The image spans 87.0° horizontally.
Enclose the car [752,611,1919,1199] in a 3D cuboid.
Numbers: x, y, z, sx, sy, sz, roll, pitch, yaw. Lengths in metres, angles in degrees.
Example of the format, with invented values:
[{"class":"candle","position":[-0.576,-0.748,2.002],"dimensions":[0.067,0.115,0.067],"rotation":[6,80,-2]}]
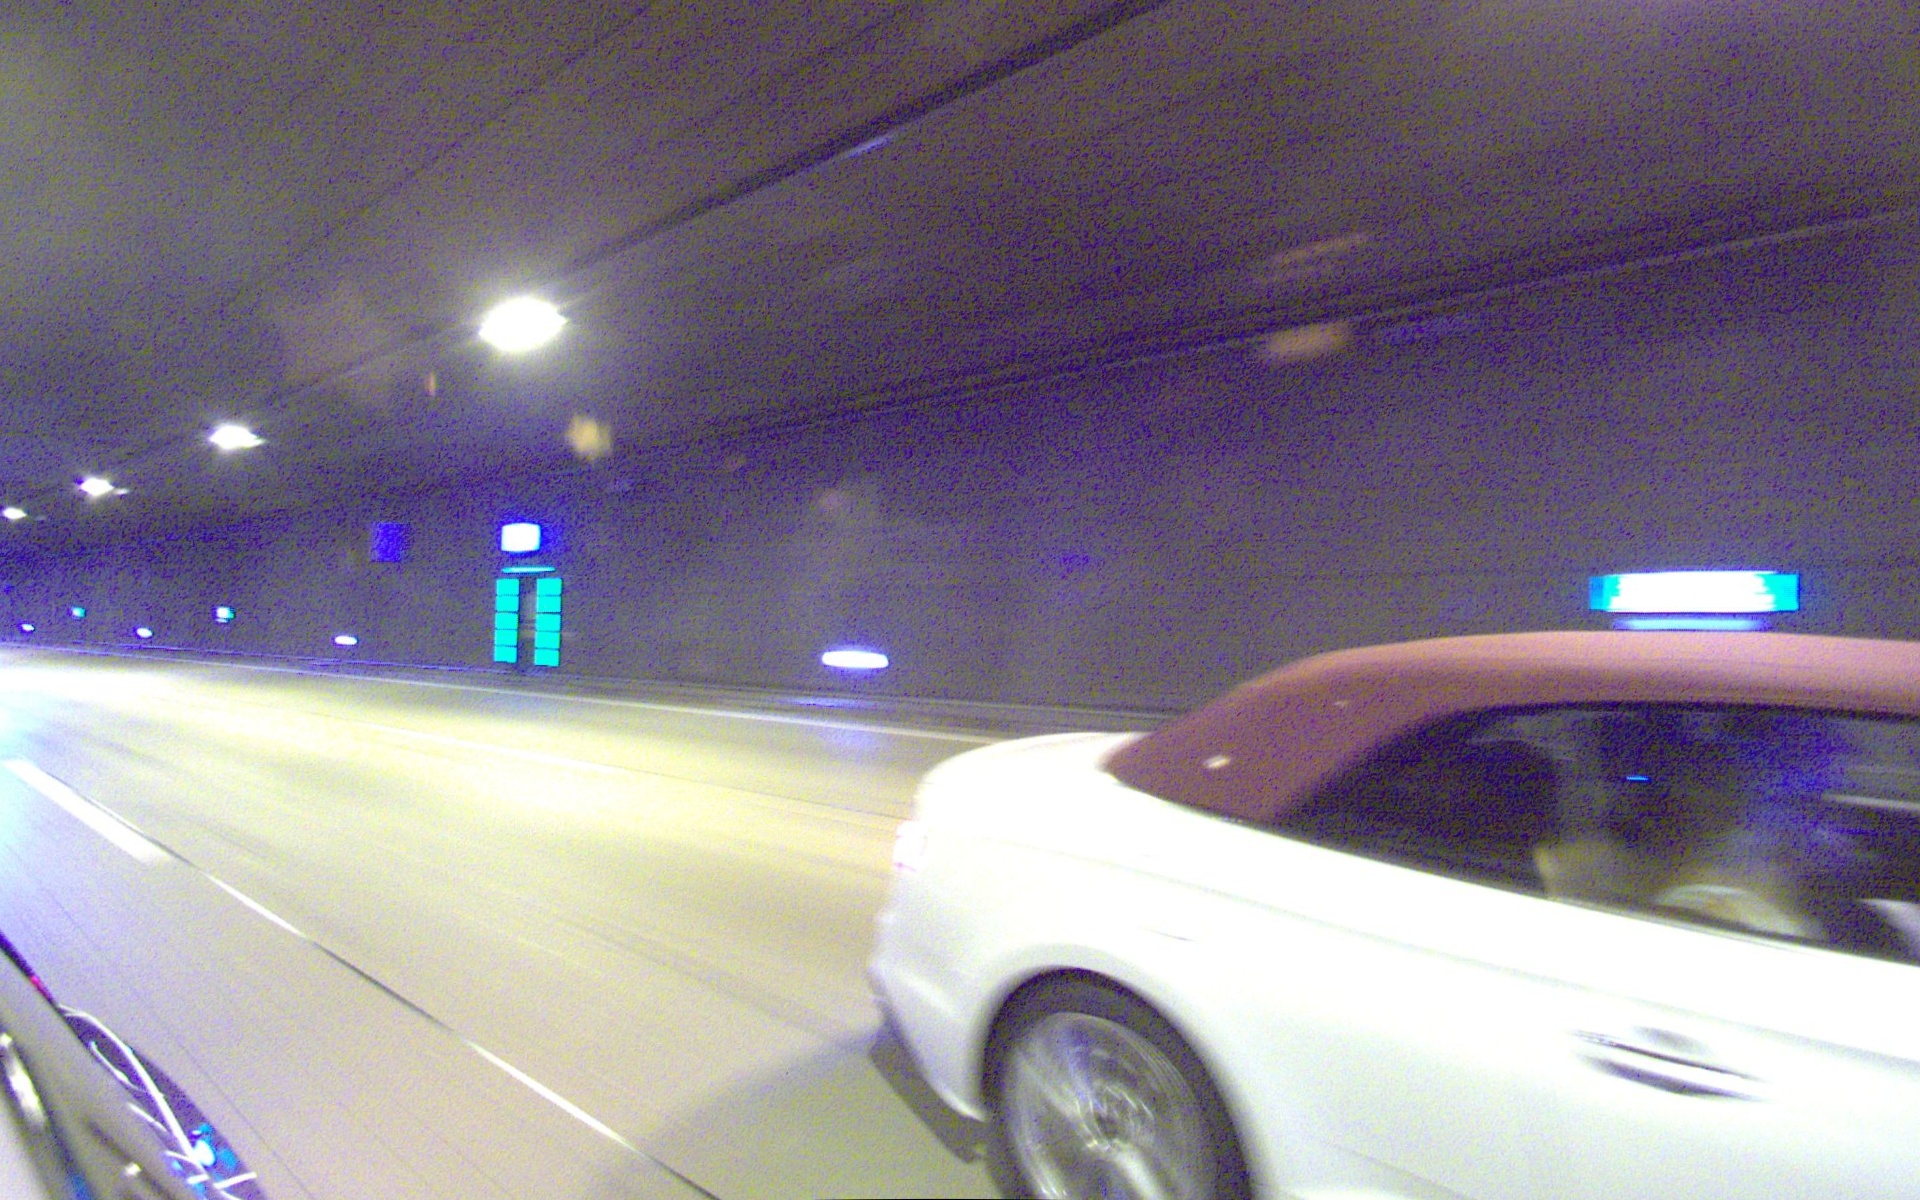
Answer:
[{"class":"car","position":[1.873,0.736,1.788],"dimensions":[5.057,1.430,1.684],"rotation":[-1,-1,41]}]
